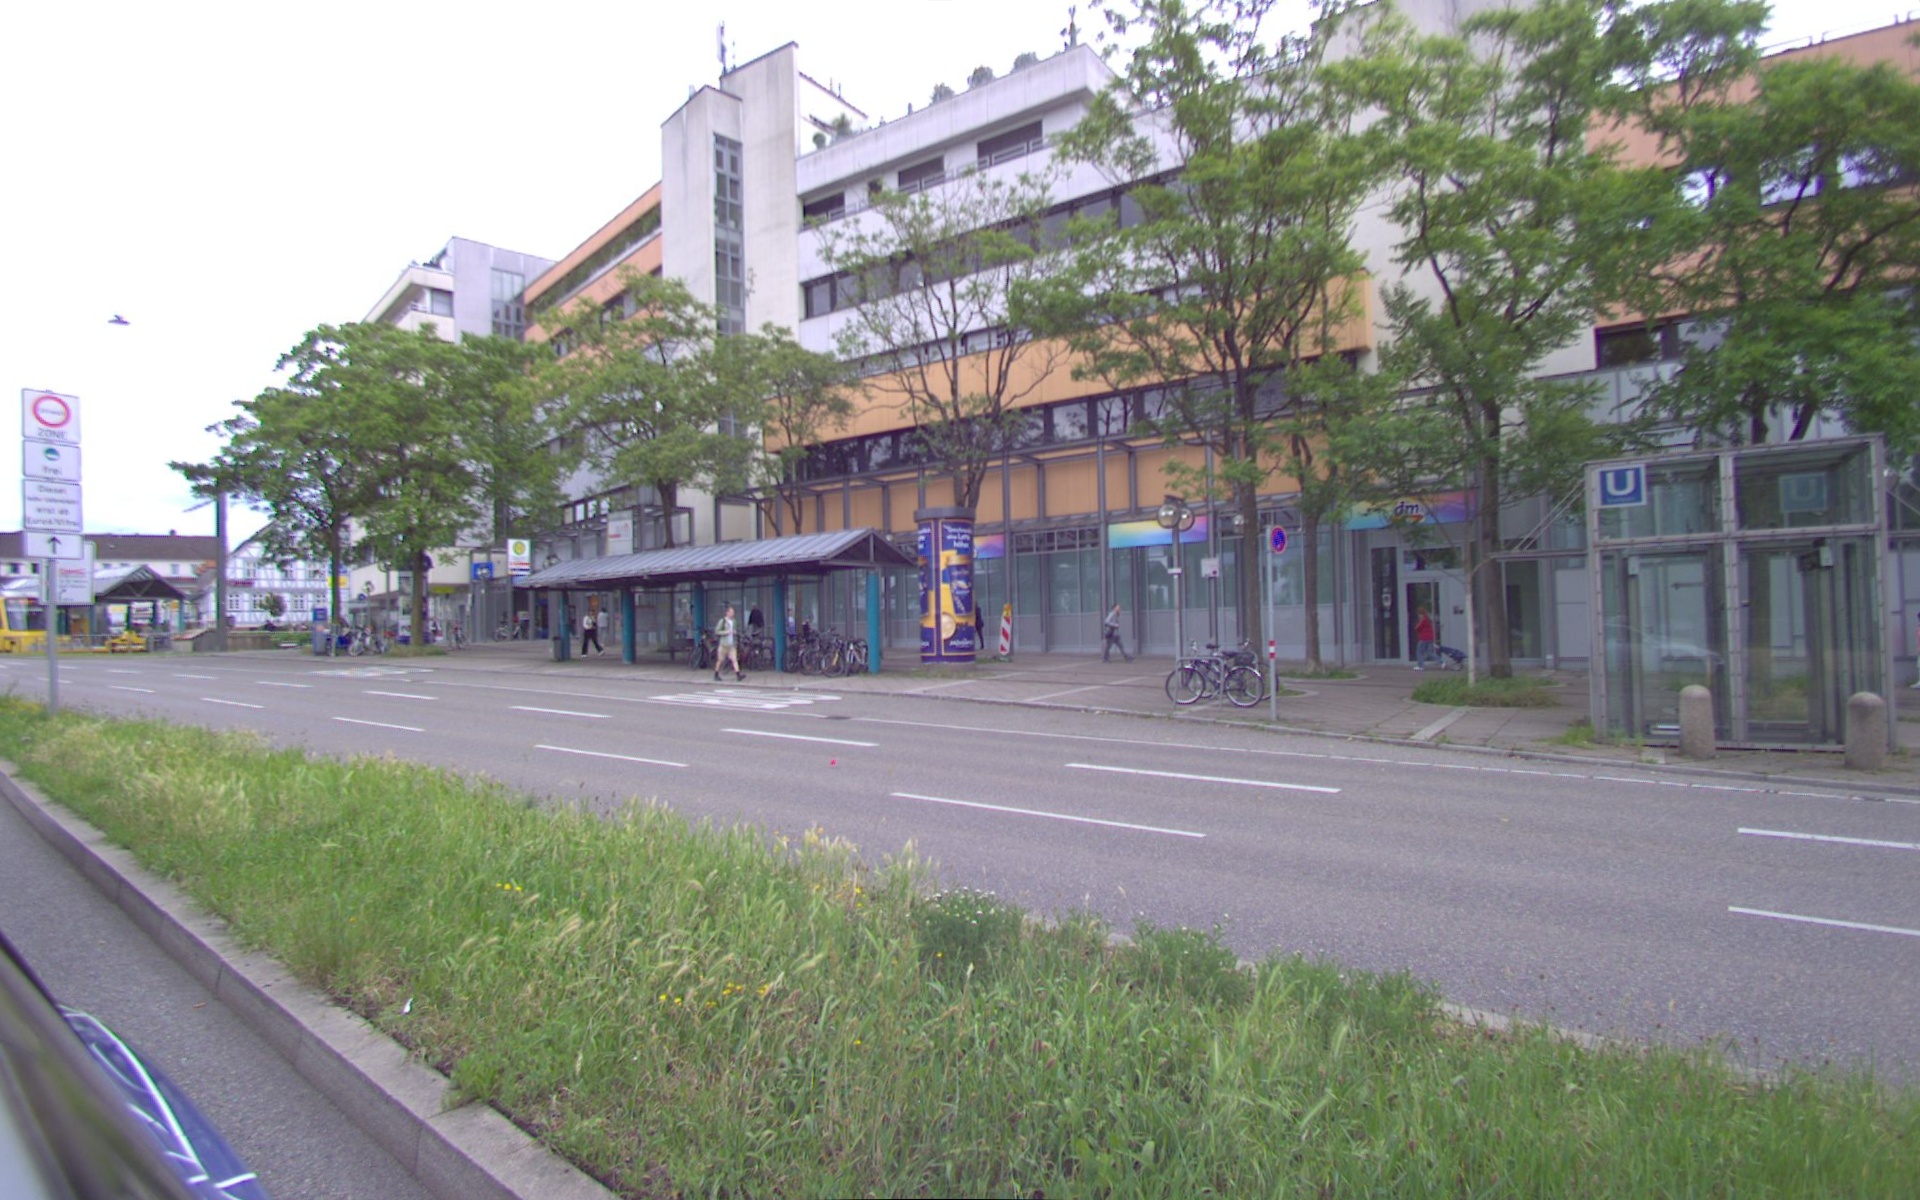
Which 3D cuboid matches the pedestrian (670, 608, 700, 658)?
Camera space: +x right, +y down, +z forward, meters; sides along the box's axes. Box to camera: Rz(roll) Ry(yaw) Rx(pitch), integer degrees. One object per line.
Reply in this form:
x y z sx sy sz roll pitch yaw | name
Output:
-9.815 1.158 36.116 0.763 1.729 0.789 -2 0 -32 | pedestrian

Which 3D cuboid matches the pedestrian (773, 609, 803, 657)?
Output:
-5.885 1.116 34.587 0.705 1.595 0.660 -2 0 35 | pedestrian

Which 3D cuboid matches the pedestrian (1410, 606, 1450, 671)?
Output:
11.707 0.960 25.221 0.822 1.598 0.629 -1 -2 31 | pedestrian

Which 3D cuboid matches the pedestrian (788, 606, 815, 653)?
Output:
-5.507 1.022 35.196 0.621 1.612 0.627 -2 0 35 | pedestrian

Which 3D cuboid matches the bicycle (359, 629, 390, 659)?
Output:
-23.712 1.794 40.990 1.966 1.170 0.596 -3 -3 44 | bicycle

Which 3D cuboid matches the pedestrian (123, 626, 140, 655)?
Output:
-46.551 2.279 56.862 0.618 1.585 0.594 -2 -2 30 | pedestrian

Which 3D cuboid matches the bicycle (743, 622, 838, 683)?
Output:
-4.457 1.356 26.866 0.803 1.518 2.876 -2 -2 32 | bicycle

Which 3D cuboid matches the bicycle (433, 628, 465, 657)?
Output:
-21.430 1.761 42.469 0.663 1.170 2.023 -1 -2 -11 | bicycle

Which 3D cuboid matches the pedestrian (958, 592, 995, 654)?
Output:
0.560 0.784 34.002 0.932 2.029 0.888 -1 -2 35 | pedestrian

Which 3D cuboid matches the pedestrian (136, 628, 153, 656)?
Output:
-46.605 2.392 57.849 0.618 1.585 0.594 -2 -2 30 | pedestrian

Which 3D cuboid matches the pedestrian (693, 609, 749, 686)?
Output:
-5.937 1.159 25.113 1.212 1.836 0.697 -1 1 37 | pedestrian

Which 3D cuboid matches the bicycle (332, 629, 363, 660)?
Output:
-24.151 1.747 39.923 0.594 1.170 1.971 0 -2 -18 | bicycle

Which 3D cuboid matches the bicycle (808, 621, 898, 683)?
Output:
-2.723 1.297 26.174 0.698 1.518 2.876 -2 -2 32 | bicycle

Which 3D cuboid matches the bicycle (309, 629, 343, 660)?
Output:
-25.026 1.739 39.966 0.594 1.170 1.971 -2 0 -17 | bicycle

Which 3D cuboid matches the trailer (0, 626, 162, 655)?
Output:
-46.874 2.157 53.584 12.072 1.343 2.822 -2 -2 29 | trailer

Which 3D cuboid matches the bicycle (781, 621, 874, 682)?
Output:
-3.449 1.322 26.619 0.776 1.518 2.876 -2 -2 32 | bicycle

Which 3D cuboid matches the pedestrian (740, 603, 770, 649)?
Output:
-7.964 1.010 39.346 0.787 1.729 0.764 -2 0 33 | pedestrian

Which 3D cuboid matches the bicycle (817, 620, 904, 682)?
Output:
-2.534 1.286 26.094 0.597 1.518 2.876 -2 -2 32 | bicycle

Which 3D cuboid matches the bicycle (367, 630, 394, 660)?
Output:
-22.799 1.763 39.840 0.594 1.170 1.695 0 -2 -19 | bicycle

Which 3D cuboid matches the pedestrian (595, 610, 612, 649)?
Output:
-15.422 1.268 43.796 0.623 1.612 0.624 -2 0 -17 | pedestrian

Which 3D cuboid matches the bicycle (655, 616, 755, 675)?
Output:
-7.239 1.274 28.869 0.969 1.518 2.877 -2 0 32 | bicycle

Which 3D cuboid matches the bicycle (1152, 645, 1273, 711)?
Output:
4.446 1.354 17.818 1.926 1.092 0.825 -2 -2 27 | bicycle

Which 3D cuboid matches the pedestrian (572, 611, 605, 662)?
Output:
-12.960 1.267 35.348 0.705 1.725 0.768 -2 0 35 | pedestrian

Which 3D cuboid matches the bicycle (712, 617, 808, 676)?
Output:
-5.403 1.247 27.583 0.809 1.518 2.876 -2 -2 33 | bicycle

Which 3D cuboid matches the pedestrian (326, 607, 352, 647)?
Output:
-29.739 1.276 48.467 0.871 1.891 0.738 -2 -2 32 | pedestrian

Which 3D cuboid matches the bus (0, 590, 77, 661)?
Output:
-60.465 1.736 61.539 19.255 3.889 3.851 -2 -2 29 | bus

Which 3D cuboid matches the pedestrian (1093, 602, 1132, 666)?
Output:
4.262 0.949 28.251 0.787 1.729 0.764 -2 0 32 | pedestrian

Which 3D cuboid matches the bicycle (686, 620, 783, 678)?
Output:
-6.216 1.324 28.083 0.888 1.518 2.876 -2 -2 32 | bicycle

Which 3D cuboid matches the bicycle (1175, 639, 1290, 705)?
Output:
5.034 1.316 18.752 1.946 1.145 0.709 -2 -2 26 | bicycle
